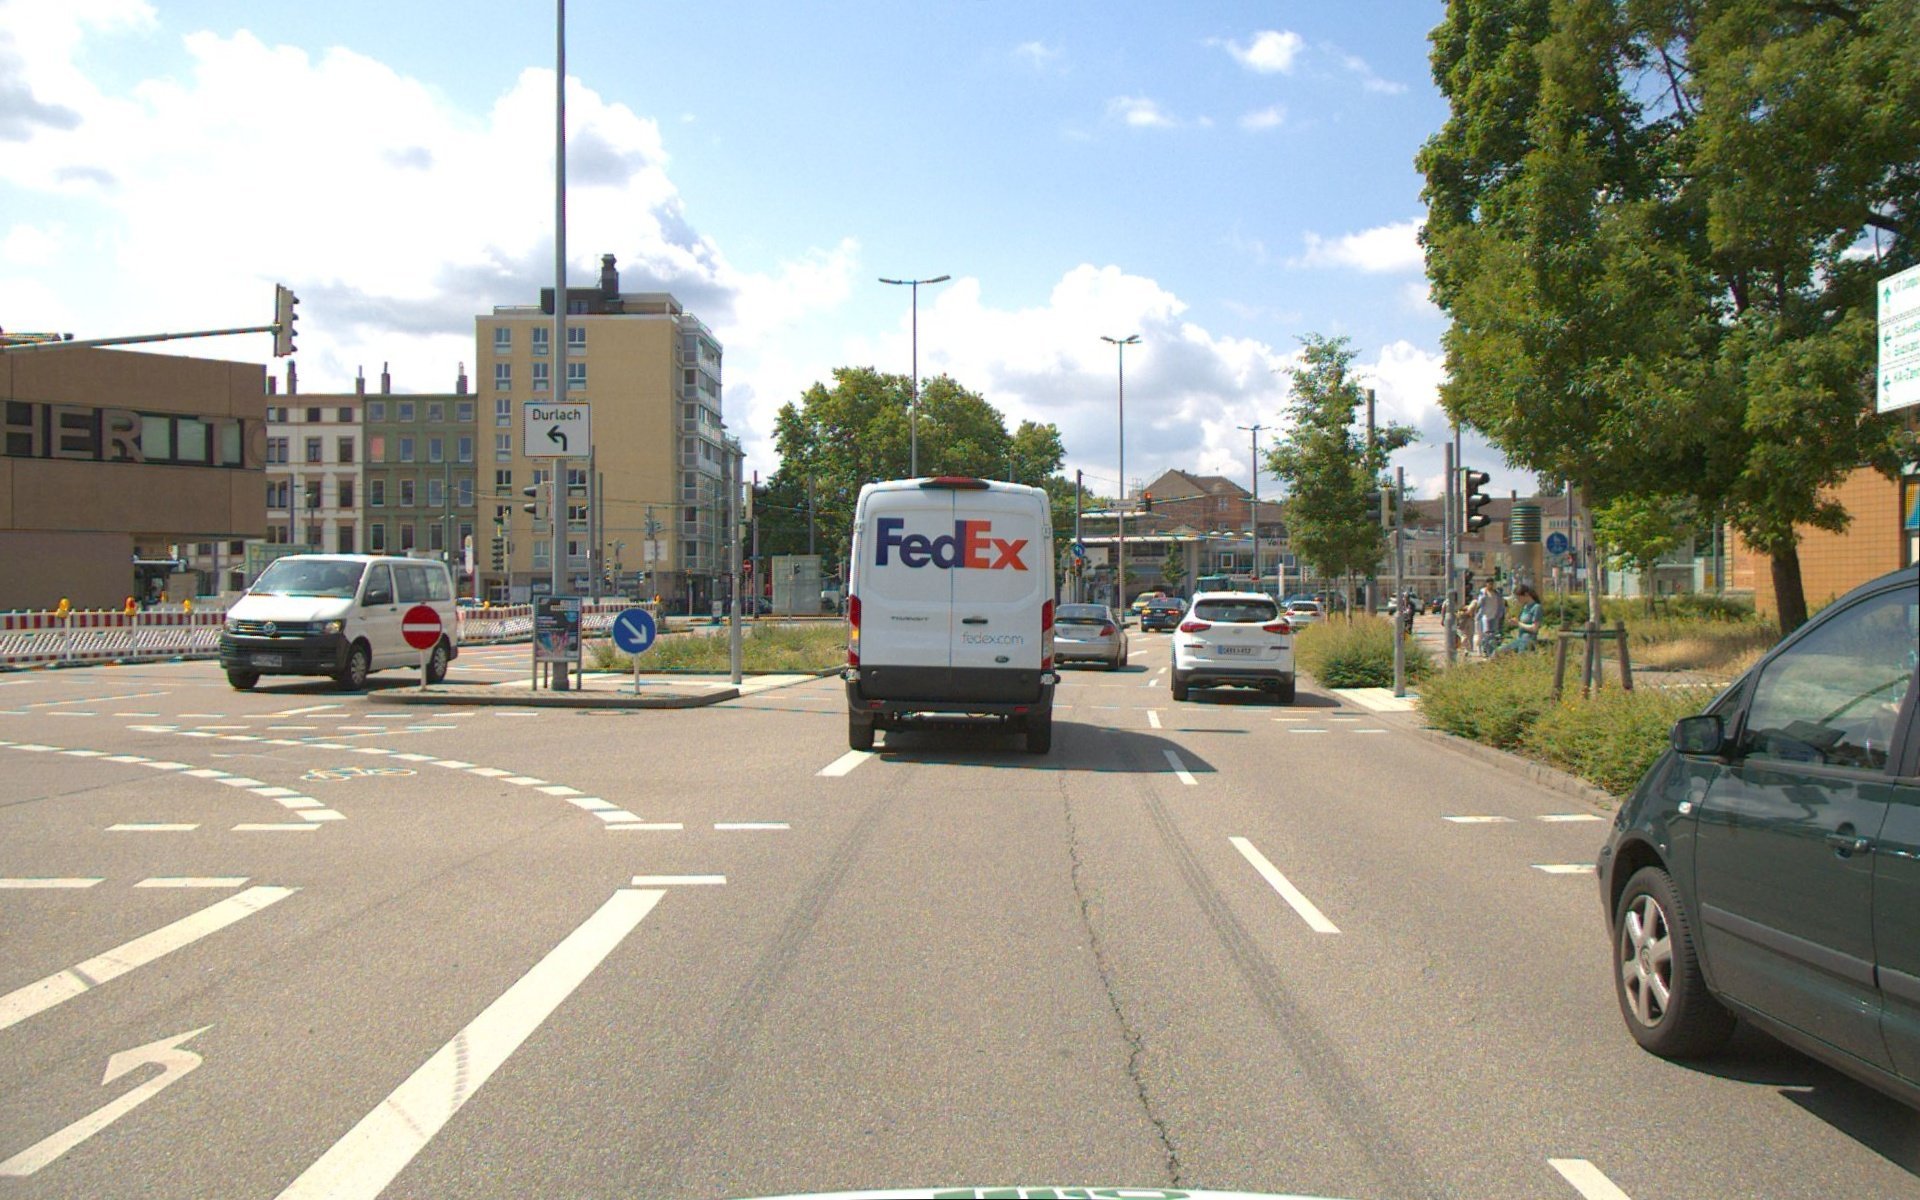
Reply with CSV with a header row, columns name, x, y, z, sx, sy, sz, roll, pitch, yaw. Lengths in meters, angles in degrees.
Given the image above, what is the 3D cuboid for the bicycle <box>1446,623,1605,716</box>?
name,x,y,z,sx,sy,sz,roll,pitch,yaw
bicycle,7.181,0.876,21.039,1.773,1.068,0.591,-3,-1,-1

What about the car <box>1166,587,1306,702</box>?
name,x,y,z,sx,sy,sz,roll,pitch,yaw
car,4.307,0.640,26.321,1.841,1.670,4.235,0,0,5

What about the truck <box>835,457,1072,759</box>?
name,x,y,z,sx,sy,sz,roll,pitch,yaw
truck,-0.081,0.080,17.842,2.093,2.686,5.916,1,0,0

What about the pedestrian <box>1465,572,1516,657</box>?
name,x,y,z,sx,sy,sz,roll,pitch,yaw
pedestrian,11.955,0.320,37.290,0.741,1.853,0.779,-3,0,-5

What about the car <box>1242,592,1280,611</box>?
name,x,y,z,sx,sy,sz,roll,pitch,yaw
car,24.020,0.087,131.717,1.623,1.494,4.144,0,0,31

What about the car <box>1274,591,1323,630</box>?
name,x,y,z,sx,sy,sz,roll,pitch,yaw
car,15.365,0.458,74.980,1.841,1.670,3.959,0,0,17

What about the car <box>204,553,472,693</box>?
name,x,y,z,sx,sy,sz,roll,pitch,yaw
car,-9.308,0.296,25.261,1.841,1.927,4.873,0,0,6

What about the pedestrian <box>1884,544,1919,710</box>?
name,x,y,z,sx,sy,sz,roll,pitch,yaw
pedestrian,10.925,0.286,18.554,0.734,1.834,0.609,-2,0,-1

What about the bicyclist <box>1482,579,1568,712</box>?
name,x,y,z,sx,sy,sz,roll,pitch,yaw
bicyclist,7.186,0.569,21.046,0.811,1.629,0.579,-3,-1,-1

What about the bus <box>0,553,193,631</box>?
name,x,y,z,sx,sy,sz,roll,pitch,yaw
bus,-36.363,-0.304,63.856,2.551,2.909,12.182,0,-1,44

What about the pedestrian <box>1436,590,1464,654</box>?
name,x,y,z,sx,sy,sz,roll,pitch,yaw
pedestrian,13.059,0.594,44.109,0.636,1.654,0.775,-3,-2,16

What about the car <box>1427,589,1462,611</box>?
name,x,y,z,sx,sy,sz,roll,pitch,yaw
car,37.347,0.009,127.457,1.845,1.670,3.952,0,0,27

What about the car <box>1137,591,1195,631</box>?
name,x,y,z,sx,sy,sz,roll,pitch,yaw
car,9.019,0.465,72.217,1.887,1.670,4.796,0,0,15

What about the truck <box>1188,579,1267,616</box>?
name,x,y,z,sx,sy,sz,roll,pitch,yaw
truck,21.673,-0.222,133.648,2.836,2.902,8.762,0,0,35

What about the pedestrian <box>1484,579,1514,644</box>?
name,x,y,z,sx,sy,sz,roll,pitch,yaw
pedestrian,15.561,0.319,47.756,0.740,1.853,0.674,1,-1,14

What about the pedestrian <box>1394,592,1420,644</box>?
name,x,y,z,sx,sy,sz,roll,pitch,yaw
pedestrian,14.112,0.561,52.210,0.740,1.617,0.762,1,-1,16

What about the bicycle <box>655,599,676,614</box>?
name,x,y,z,sx,sy,sz,roll,pitch,yaw
bicycle,-22.964,0.478,128.949,2.098,1.167,0.508,0,-1,44

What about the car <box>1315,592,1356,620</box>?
name,x,y,z,sx,sy,sz,roll,pitch,yaw
car,23.338,0.367,102.677,1.843,1.670,3.956,0,0,23

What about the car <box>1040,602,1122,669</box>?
name,x,y,z,sx,sy,sz,roll,pitch,yaw
car,2.744,0.747,36.797,1.704,1.416,4.182,0,0,6

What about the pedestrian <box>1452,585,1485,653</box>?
name,x,y,z,sx,sy,sz,roll,pitch,yaw
pedestrian,12.394,0.463,40.350,0.575,1.654,0.728,1,-1,1

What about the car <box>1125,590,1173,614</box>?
name,x,y,z,sx,sy,sz,roll,pitch,yaw
car,15.230,0.155,132.927,1.689,1.832,4.721,-1,0,36

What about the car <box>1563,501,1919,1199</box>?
name,x,y,z,sx,sy,sz,roll,pitch,yaw
car,3.237,0.659,4.162,1.758,1.753,4.448,2,0,0

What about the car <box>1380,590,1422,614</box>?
name,x,y,z,sx,sy,sz,roll,pitch,yaw
car,31.811,0.113,119.323,1.847,1.670,3.947,0,0,32
